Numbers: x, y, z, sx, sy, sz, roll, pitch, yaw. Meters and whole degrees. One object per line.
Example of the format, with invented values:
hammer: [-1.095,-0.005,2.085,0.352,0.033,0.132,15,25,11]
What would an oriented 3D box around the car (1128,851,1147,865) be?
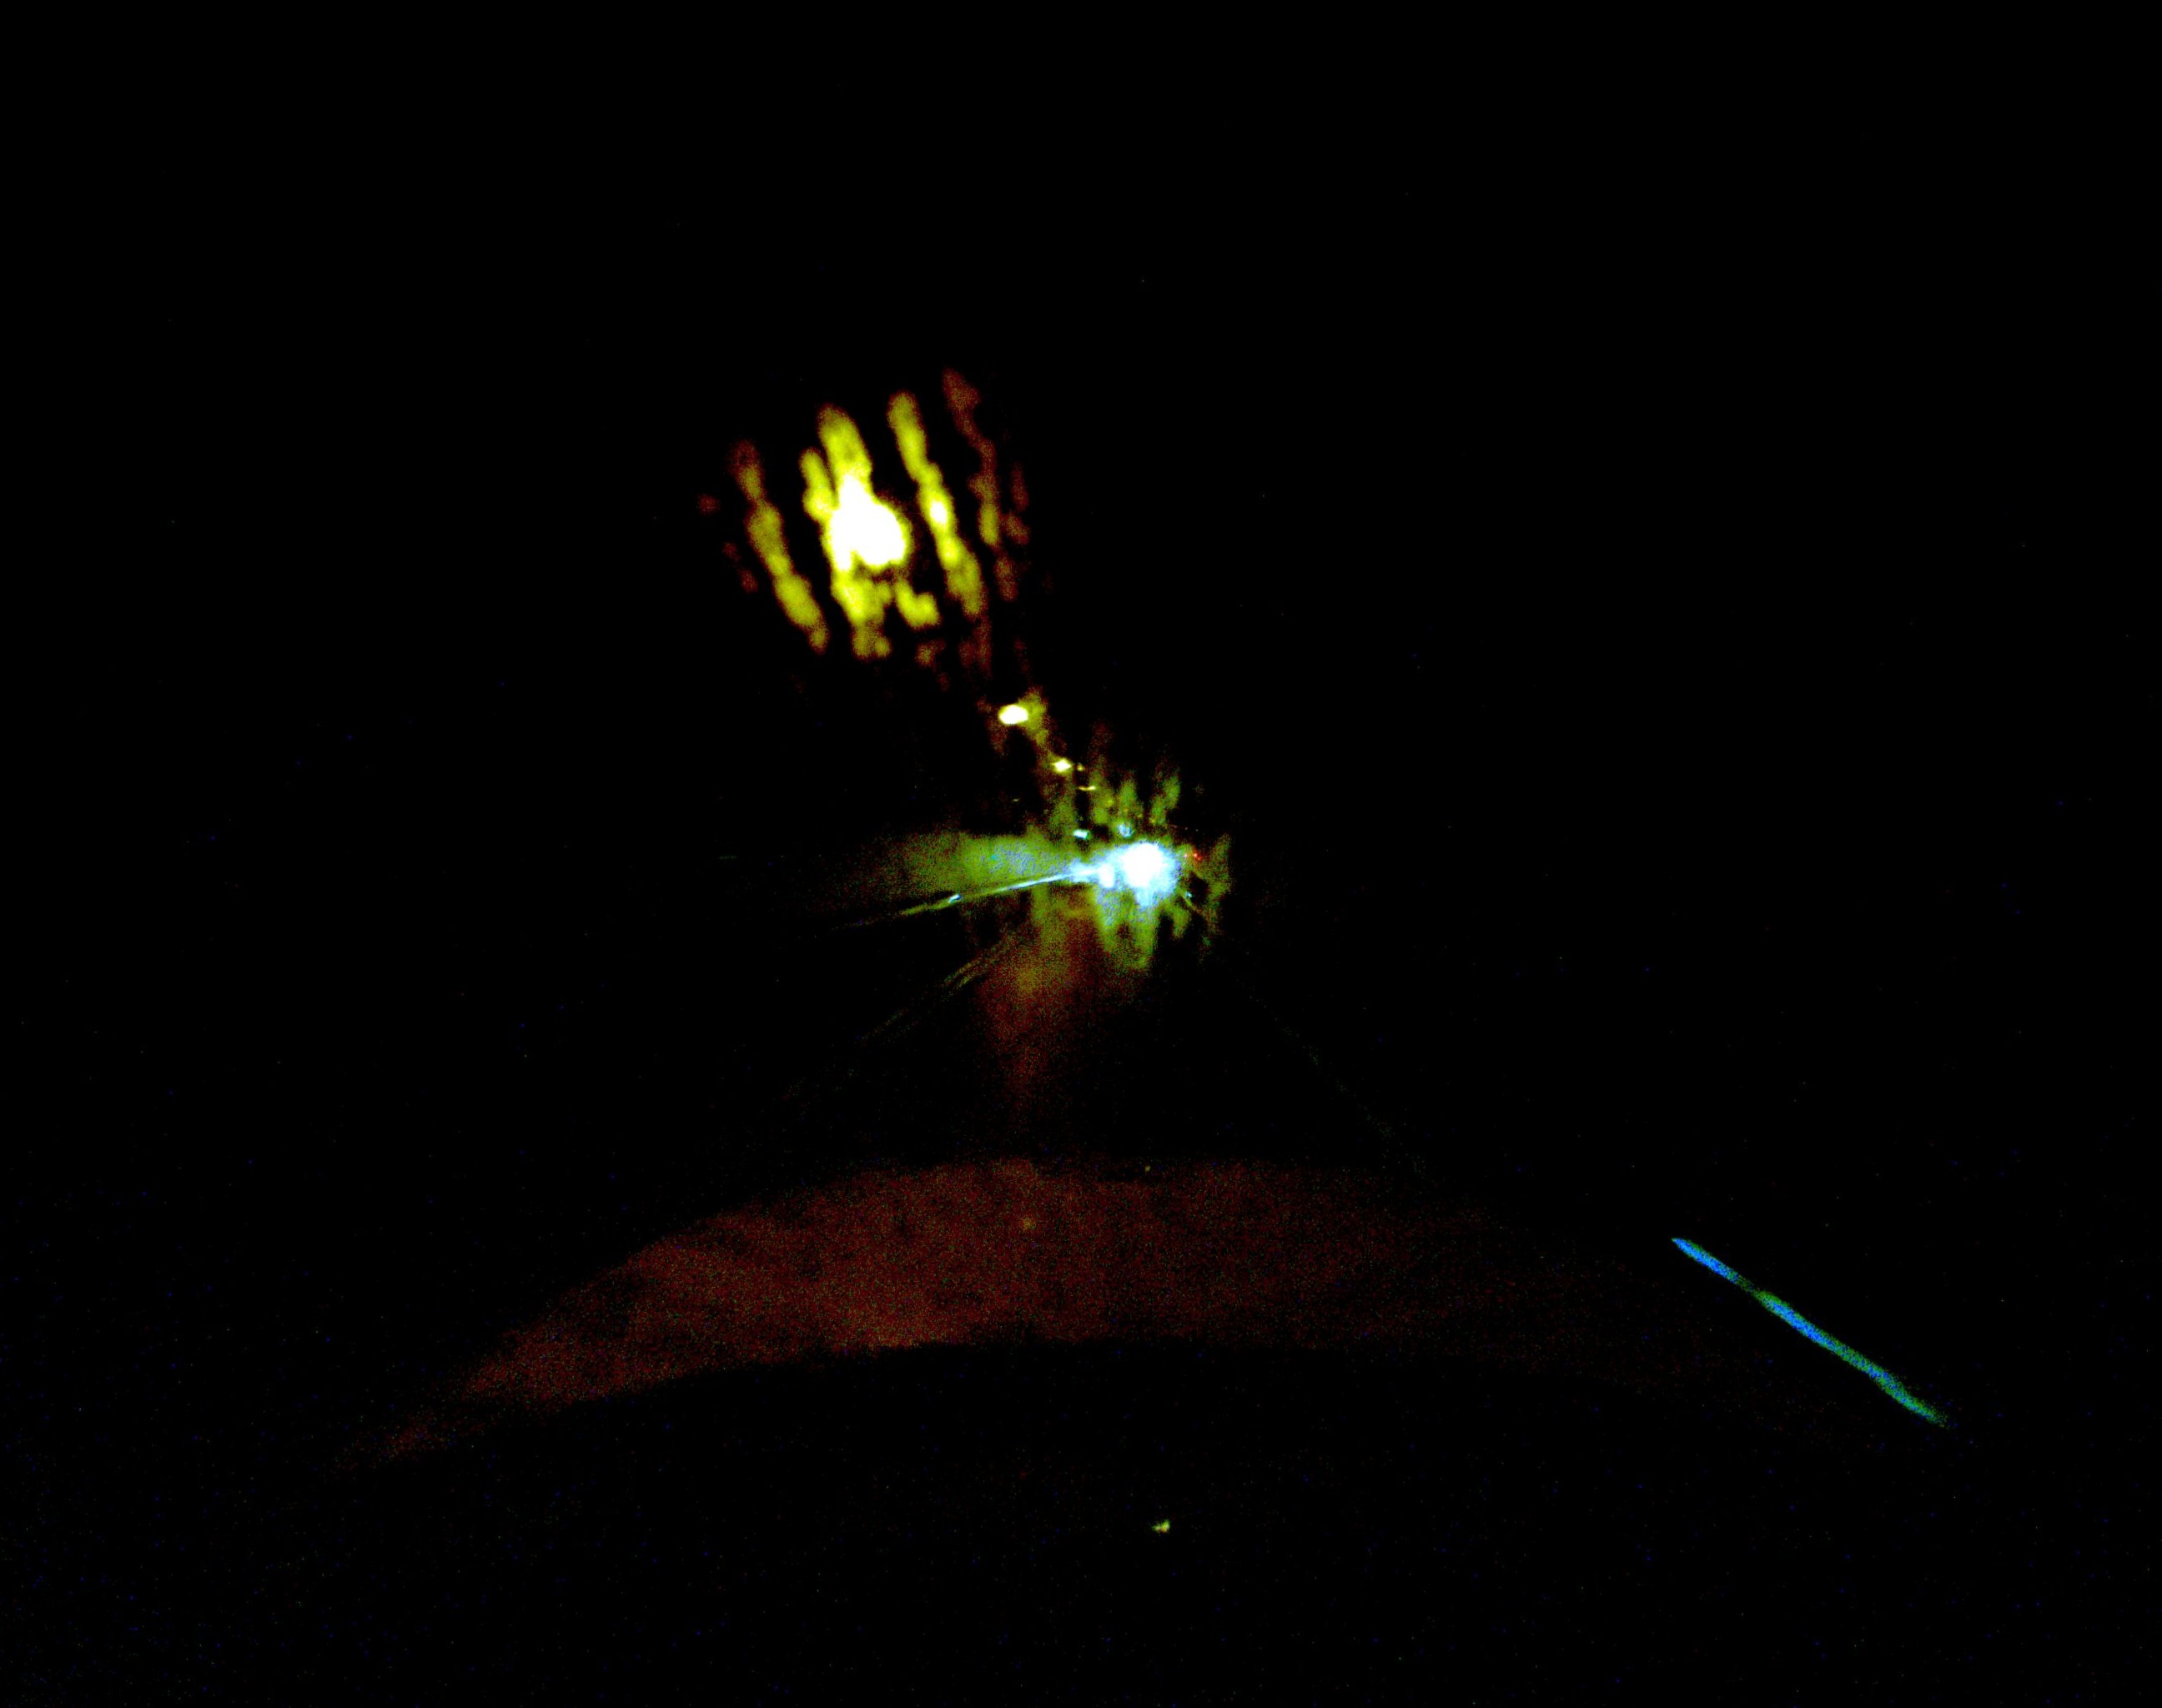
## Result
car: [5.974,0.355,85.018,1.703,1.378,4.594,-1,0,7]

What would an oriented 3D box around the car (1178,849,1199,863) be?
car: [13.903,0.259,105.359,1.978,1.650,4.018,-2,0,17]
